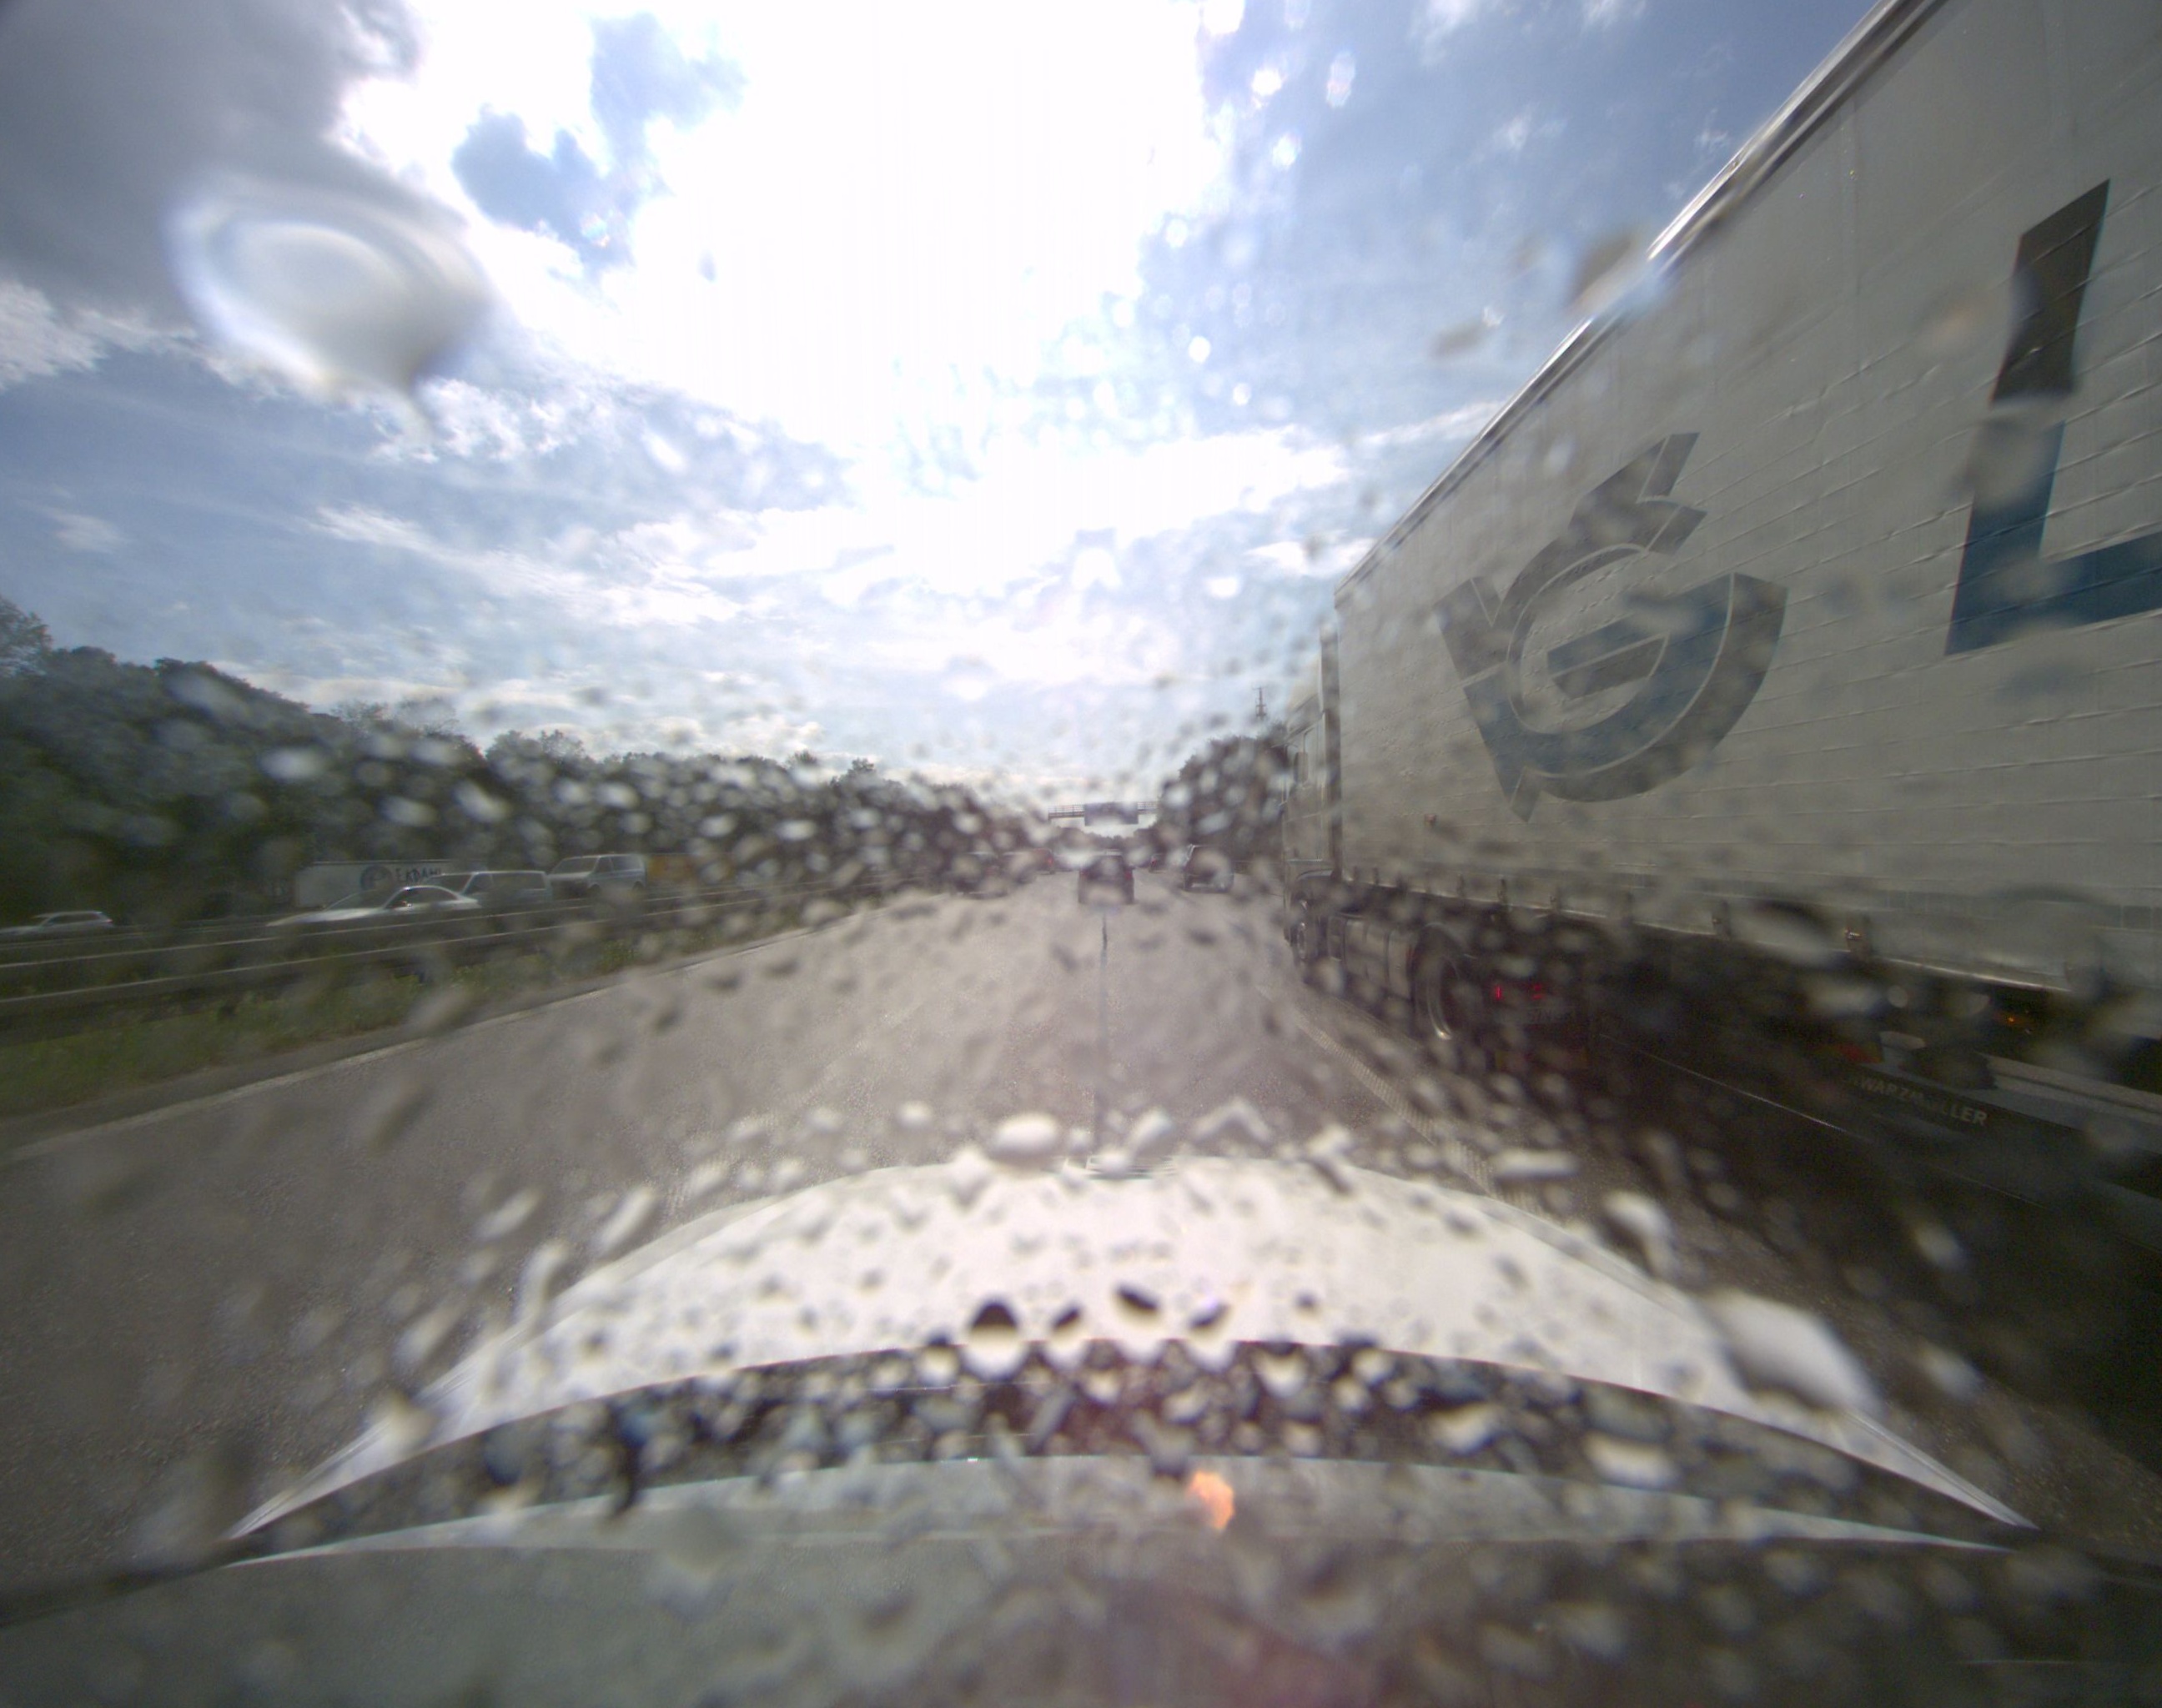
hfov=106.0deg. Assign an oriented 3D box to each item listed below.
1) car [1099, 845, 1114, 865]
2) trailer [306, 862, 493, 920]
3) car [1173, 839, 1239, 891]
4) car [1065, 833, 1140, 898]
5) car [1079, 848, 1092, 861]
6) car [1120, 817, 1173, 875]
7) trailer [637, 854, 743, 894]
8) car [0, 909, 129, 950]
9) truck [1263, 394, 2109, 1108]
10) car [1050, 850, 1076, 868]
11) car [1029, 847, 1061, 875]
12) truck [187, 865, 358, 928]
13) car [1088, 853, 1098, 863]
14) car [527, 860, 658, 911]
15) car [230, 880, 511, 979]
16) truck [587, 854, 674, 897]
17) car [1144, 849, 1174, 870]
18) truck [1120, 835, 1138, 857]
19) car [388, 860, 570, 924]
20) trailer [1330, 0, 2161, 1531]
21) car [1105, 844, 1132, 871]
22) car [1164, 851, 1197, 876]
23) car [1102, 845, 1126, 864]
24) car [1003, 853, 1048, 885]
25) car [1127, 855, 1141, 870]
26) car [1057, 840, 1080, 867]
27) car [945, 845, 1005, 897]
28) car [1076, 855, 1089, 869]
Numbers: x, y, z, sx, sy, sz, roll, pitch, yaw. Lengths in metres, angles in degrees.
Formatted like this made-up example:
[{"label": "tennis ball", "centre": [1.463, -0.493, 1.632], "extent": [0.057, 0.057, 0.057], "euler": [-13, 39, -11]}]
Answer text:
[{"label": "car", "centre": [3.535, 0.125, 113.148], "extent": [1.986, 2.746, 5.262], "euler": [-1, 0, 2]}, {"label": "trailer", "centre": [-49.708, 2.537, 60.056], "extent": [3.766, 3.649, 10.524], "euler": [-2, 0, 9]}, {"label": "car", "centre": [4.991, 0.427, 33.221], "extent": [1.935, 1.919, 5.653], "euler": [-1, 0, 1]}, {"label": "car", "centre": [0.672, 0.362, 27.123], "extent": [2.267, 1.954, 4.821], "euler": [-1, 0, 0]}, {"label": "car", "centre": [0.704, 0.093, 136.858], "extent": [1.986, 2.115, 4.891], "euler": [-1, 0, 2]}, {"label": "car", "centre": [6.975, -0.762, 90.491], "extent": [4.390, 5.830, 16.813], "euler": [-1, 0, 0]}, {"label": "trailer", "centre": [-42.801, 2.116, 89.847], "extent": [3.760, 4.117, 11.772], "euler": [-1, 0, 15]}, {"label": "car", "centre": [-52.311, 3.818, 41.622], "extent": [2.049, 1.718, 4.373], "euler": [-1, 0, 4]}, {"label": "truck", "centre": [4.018, -0.573, 7.652], "extent": [3.273, 3.891, 6.397], "euler": [0, 0, 1]}, {"label": "car", "centre": [-1.568, 0.423, 72.590], "extent": [1.986, 1.564, 4.759], "euler": [-1, 0, 2]}, {"label": "car", "centre": [-2.718, 0.538, 62.637], "extent": [1.971, 2.054, 4.759], "euler": [-1, 0, 2]}, {"label": "truck", "centre": [-50.915, 2.544, 51.610], "extent": [3.768, 3.660, 6.718], "euler": [-1, 0, 7]}, {"label": "car", "centre": [2.482, 0.787, 167.216], "extent": [1.986, 2.115, 4.891], "euler": [-1, 0, 2]}, {"label": "car", "centre": [-19.655, 1.199, 33.091], "extent": [2.039, 1.891, 5.261], "euler": [-1, 0, 1]}, {"label": "car", "centre": [-16.611, 1.661, 19.560], "extent": [2.039, 1.891, 5.261], "euler": [-1, 0, 1]}, {"label": "truck", "centre": [-45.034, 2.088, 81.679], "extent": [3.760, 4.117, 7.074], "euler": [-1, 0, 15]}, {"label": "car", "centre": [5.883, 0.412, 61.558], "extent": [1.859, 1.516, 3.975], "euler": [-1, 0, 0]}, {"label": "truck", "centre": [8.066, -1.336, 137.249], "extent": [2.764, 3.631, 5.920], "euler": [-1, 0, 2]}, {"label": "car", "centre": [-19.647, 1.157, 26.972], "extent": [2.039, 1.891, 5.261], "euler": [-1, 0, 1]}, {"label": "trailer", "centre": [3.862, -0.545, 0.562], "extent": [3.272, 3.898, 14.130], "euler": [0, 0, 1]}, {"label": "car", "centre": [2.606, 0.233, 57.109], "extent": [1.687, 1.805, 3.975], "euler": [-1, 0, 0]}, {"label": "car", "centre": [6.274, 0.577, 51.601], "extent": [1.585, 1.516, 3.975], "euler": [-1, 0, 0]}, {"label": "car", "centre": [2.742, 0.034, 69.098], "extent": [1.859, 1.516, 3.975], "euler": [-1, 0, 0]}, {"label": "car", "centre": [-3.014, 0.809, 44.962], "extent": [1.901, 1.636, 4.619], "euler": [-2, 0, 2]}, {"label": "car", "centre": [8.039, 1.268, 124.149], "extent": [1.986, 2.115, 4.891], "euler": [-1, 0, 2]}, {"label": "car", "centre": [-1.256, -0.026, 82.481], "extent": [1.986, 2.615, 5.262], "euler": [-1, 0, 2]}, {"label": "car", "centre": [-3.923, 0.619, 30.691], "extent": [1.687, 1.805, 3.975], "euler": [-1, 0, 0]}, {"label": "car", "centre": [0.264, 1.229, 129.526], "extent": [1.986, 2.115, 4.891], "euler": [-1, 0, 2]}]
